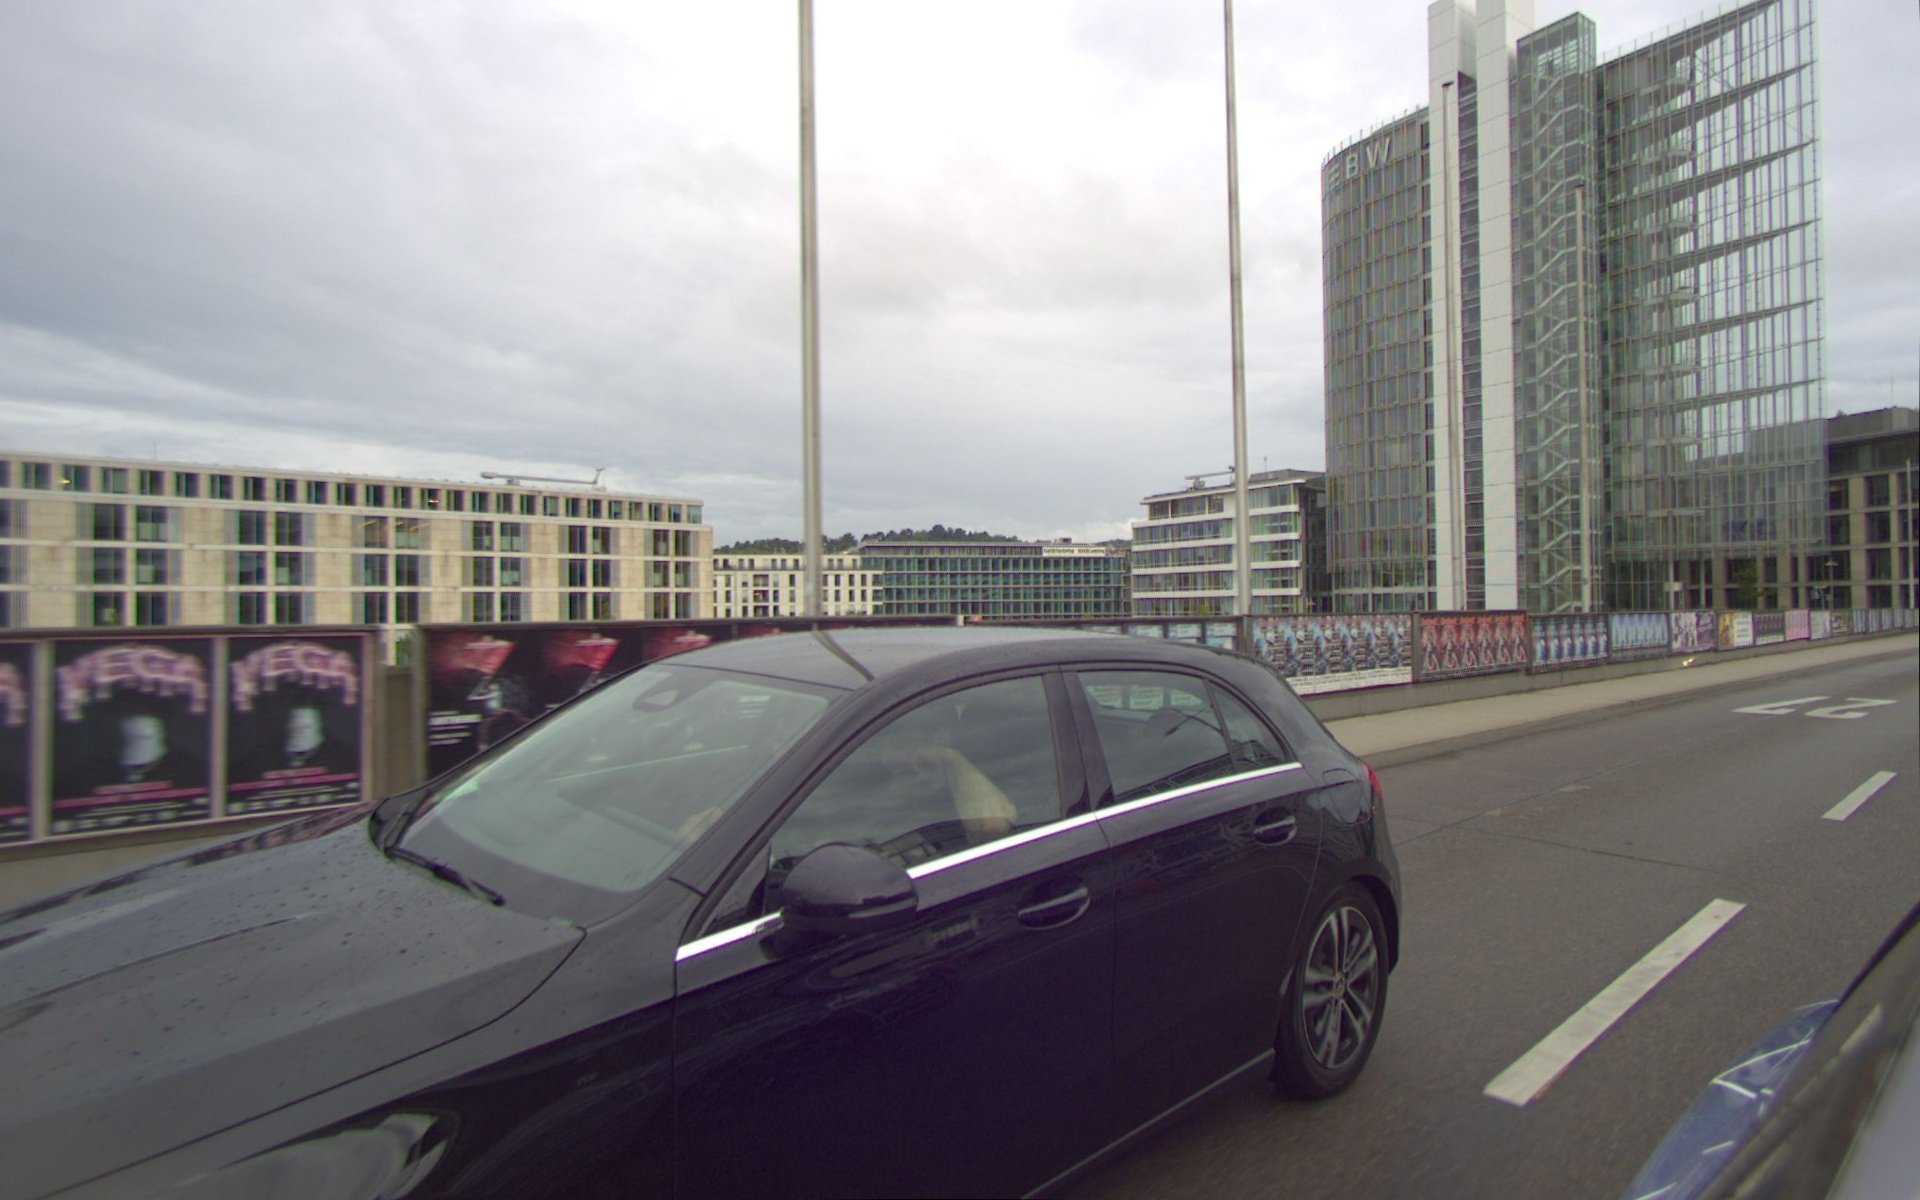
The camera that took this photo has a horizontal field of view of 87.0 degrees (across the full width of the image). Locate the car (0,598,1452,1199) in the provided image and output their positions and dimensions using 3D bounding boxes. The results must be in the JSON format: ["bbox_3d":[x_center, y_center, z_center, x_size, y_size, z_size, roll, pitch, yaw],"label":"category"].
[{"bbox_3d":[-0.404,0.737,2.717,4.085,1.393,1.725,-2,1,-42],"label":"car"}]
